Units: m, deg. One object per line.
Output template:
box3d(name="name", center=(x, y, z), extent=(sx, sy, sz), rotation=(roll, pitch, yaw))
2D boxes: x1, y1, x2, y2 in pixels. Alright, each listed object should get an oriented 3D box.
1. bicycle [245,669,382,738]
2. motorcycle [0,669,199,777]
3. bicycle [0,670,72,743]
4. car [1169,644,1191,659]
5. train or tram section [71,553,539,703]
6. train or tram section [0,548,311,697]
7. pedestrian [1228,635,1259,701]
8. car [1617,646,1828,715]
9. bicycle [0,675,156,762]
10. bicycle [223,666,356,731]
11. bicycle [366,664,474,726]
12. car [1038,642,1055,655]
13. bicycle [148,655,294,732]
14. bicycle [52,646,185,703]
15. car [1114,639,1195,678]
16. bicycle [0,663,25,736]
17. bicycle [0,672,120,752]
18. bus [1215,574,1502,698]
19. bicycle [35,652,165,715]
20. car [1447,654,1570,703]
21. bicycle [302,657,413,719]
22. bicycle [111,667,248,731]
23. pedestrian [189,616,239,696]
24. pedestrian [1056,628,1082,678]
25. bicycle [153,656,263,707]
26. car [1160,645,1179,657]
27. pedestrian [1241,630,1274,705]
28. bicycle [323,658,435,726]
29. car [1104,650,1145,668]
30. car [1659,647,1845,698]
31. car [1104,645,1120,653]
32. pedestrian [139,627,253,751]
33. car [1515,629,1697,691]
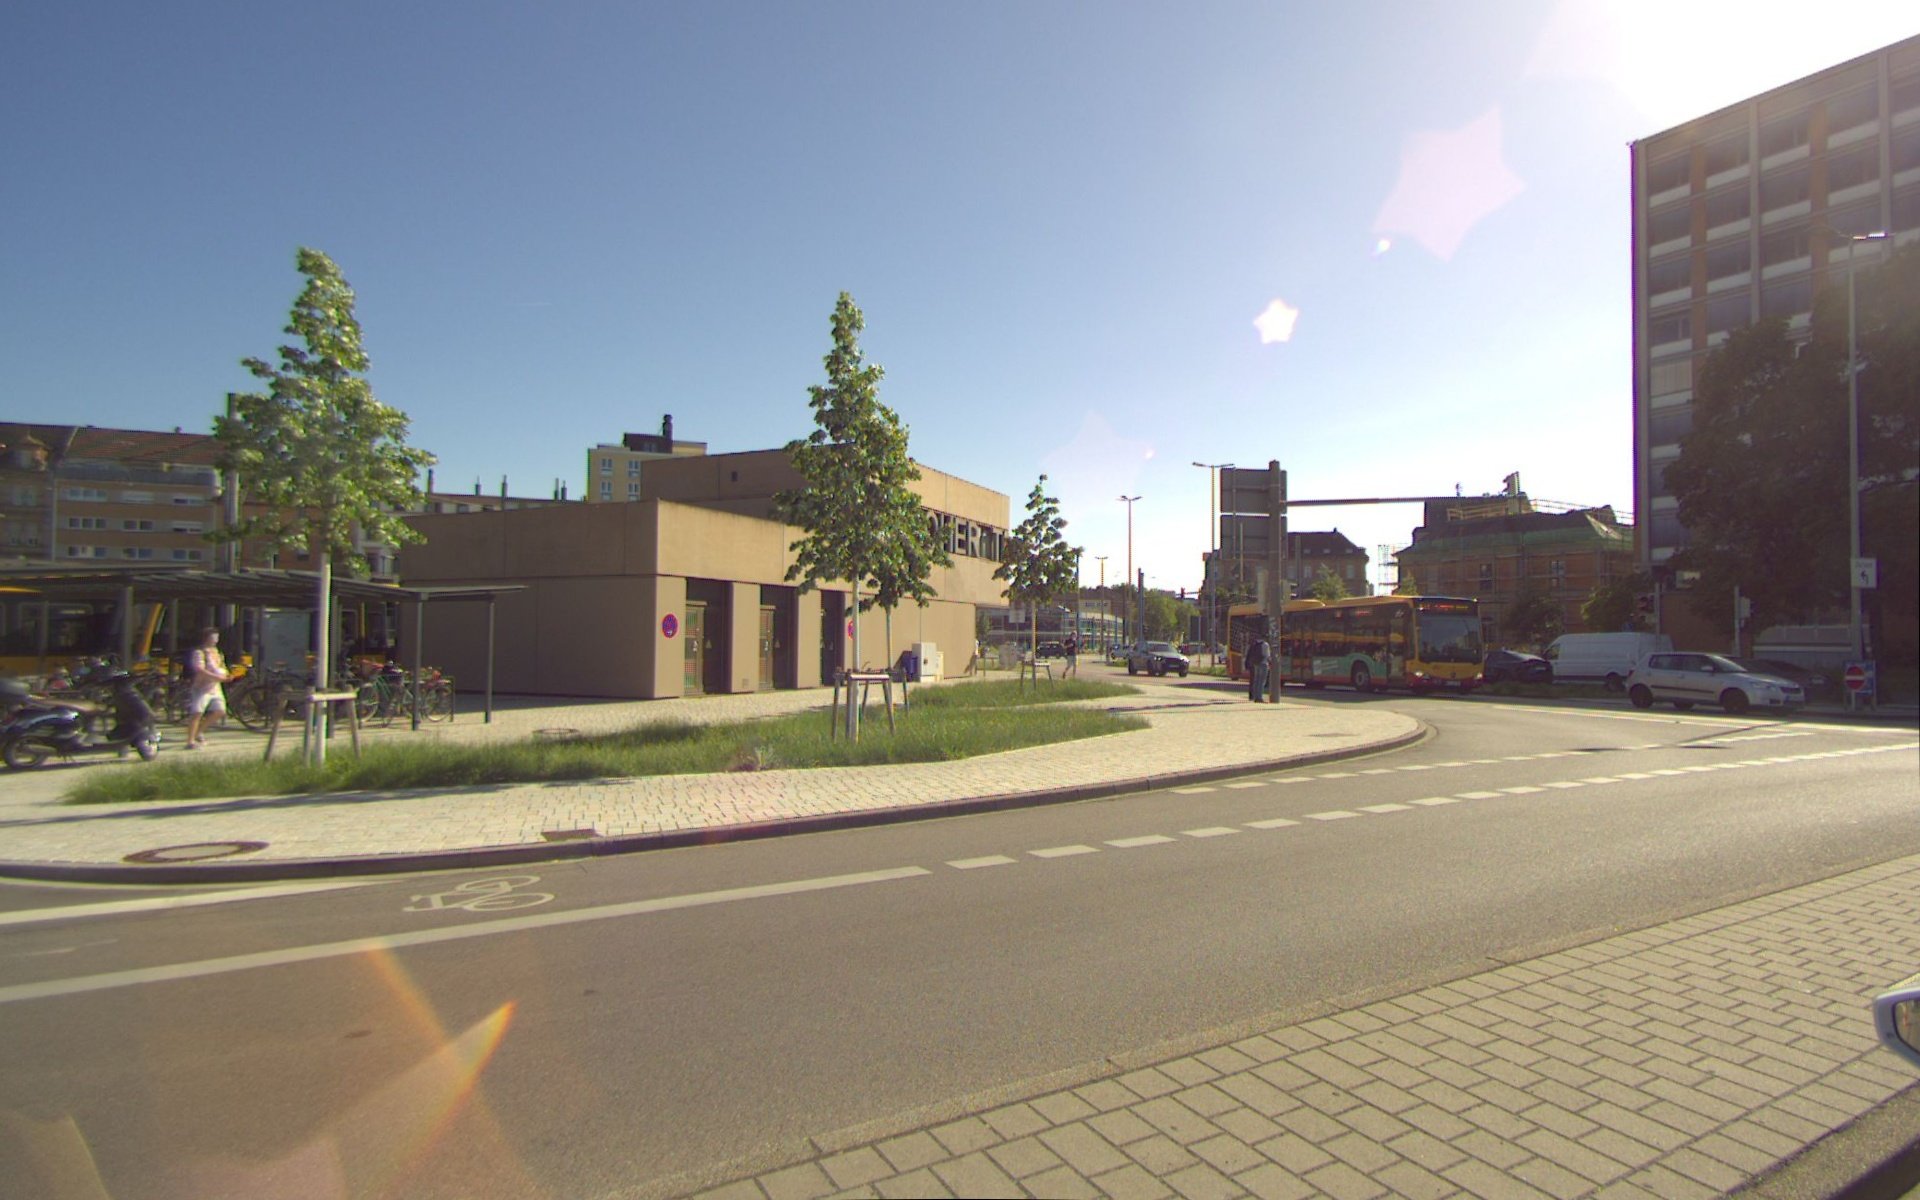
box3d(name="bicycle", center=(-10.692, 1.680, 16.679), extent=(0.617, 1.021, 1.828), rotation=(0, -2, 27))
box3d(name="motorcycle", center=(-10.940, 1.480, 12.471), extent=(0.599, 1.173, 2.360), rotation=(0, -2, 25))
box3d(name="bicycle", center=(-14.125, 1.552, 14.508), extent=(0.617, 1.021, 1.829), rotation=(0, -2, 25))
box3d(name="car", center=(27.382, 6.379, 125.255), extent=(1.960, 1.603, 4.001), rotation=(2, 0, 2))
box3d(name="train or tram section", center=(-18.788, 0.891, 30.600), extent=(2.702, 3.648, 12.318), rotation=(0, -2, 25))
box3d(name="train or tram section", center=(-24.152, 0.609, 26.398), extent=(2.779, 3.648, 12.320), rotation=(0, -2, 24))
box3d(name="pedestrian", center=(7.579, 1.807, 26.875), extent=(0.594, 1.719, 0.634), rotation=(1, -2, -7))
box3d(name="car", center=(19.009, 1.969, 25.260), extent=(1.862, 1.421, 3.843), rotation=(4, -2, -17))
box3d(name="bicycle", center=(-12.058, 1.561, 13.516), extent=(0.617, 1.021, 1.829), rotation=(0, -2, 25))
box3d(name="bicycle", center=(-11.635, 1.682, 17.496), extent=(0.492, 1.010, 1.887), rotation=(0, -2, 31))
box3d(name="bicycle", center=(-9.842, 1.711, 18.380), extent=(0.616, 1.021, 1.832), rotation=(0, -2, 16))
box3d(name="car", center=(12.236, 6.842, 141.558), extent=(1.959, 1.814, 4.003), rotation=(0, -2, 12))
box3d(name="bicycle", center=(-12.908, 1.602, 17.624), extent=(0.496, 1.225, 2.051), rotation=(0, -2, 26))
box3d(name="bicycle", center=(-16.012, 1.395, 19.162), extent=(0.617, 1.021, 1.828), rotation=(0, -2, 27))
box3d(name="car", center=(9.993, 2.968, 52.021), extent=(1.975, 1.885, 4.720), rotation=(1, -2, -21))
box3d(name="bicycle", center=(-15.292, 1.519, 15.007), extent=(0.617, 1.094, 1.829), rotation=(0, -2, 25))
box3d(name="bicycle", center=(-13.141, 1.560, 14.068), extent=(0.617, 1.021, 2.026), rotation=(0, -2, 25))
box3d(name="bus", center=(13.316, 1.272, 35.645), extent=(3.193, 3.617, 12.437), rotation=(1, -2, -12))
box3d(name="bicycle", center=(-16.931, 1.614, 19.825), extent=(0.617, 1.146, 1.828), rotation=(0, -2, 27))
box3d(name="car", center=(23.654, 3.367, 43.589), extent=(1.964, 1.694, 5.039), rotation=(4, -1, -9))
box3d(name="bicycle", center=(-11.766, 1.689, 19.684), extent=(0.617, 1.107, 1.829), rotation=(0, -2, 25))
box3d(name="bicycle", center=(-13.885, 1.744, 17.933), extent=(0.617, 1.021, 1.828), rotation=(0, -2, 27))
box3d(name="pedestrian", center=(-17.746, 1.322, 23.906), extent=(0.738, 1.880, 0.709), rotation=(1, -2, -19))
box3d(name="pedestrian", center=(4.124, 2.005, 38.062), extent=(0.826, 1.869, 0.866), rotation=(1, -2, -7))
box3d(name="bicycle", center=(-16.277, 1.737, 21.799), extent=(0.617, 1.021, 1.829), rotation=(0, -2, 25))
box3d(name="car", center=(31.191, 7.578, 149.686), extent=(1.960, 1.603, 4.001), rotation=(2, 0, 2))
box3d(name="pedestrian", center=(7.614, 1.714, 25.692), extent=(0.594, 1.880, 0.681), rotation=(1, -2, -7))
box3d(name="bicycle", center=(-10.762, 1.677, 18.679), extent=(0.616, 1.161, 1.831), rotation=(0, -2, 18))
box3d(name="car", center=(16.945, 6.072, 103.773), extent=(1.770, 1.795, 3.951), rotation=(2, -2, -42))
box3d(name="car", center=(27.607, 2.481, 35.255), extent=(2.067, 1.602, 4.844), rotation=(1, -2, -15))
box3d(name="car", center=(26.811, 8.591, 177.120), extent=(1.961, 1.408, 3.999), rotation=(0, -2, 22))
box3d(name="pedestrian", center=(-11.085, 1.268, 14.598), extent=(1.004, 1.727, 0.839), rotation=(0, -2, 12))
box3d(name="car", center=(28.948, 2.628, 45.431), extent=(2.960, 2.580, 6.944), rotation=(1, -2, -11))
